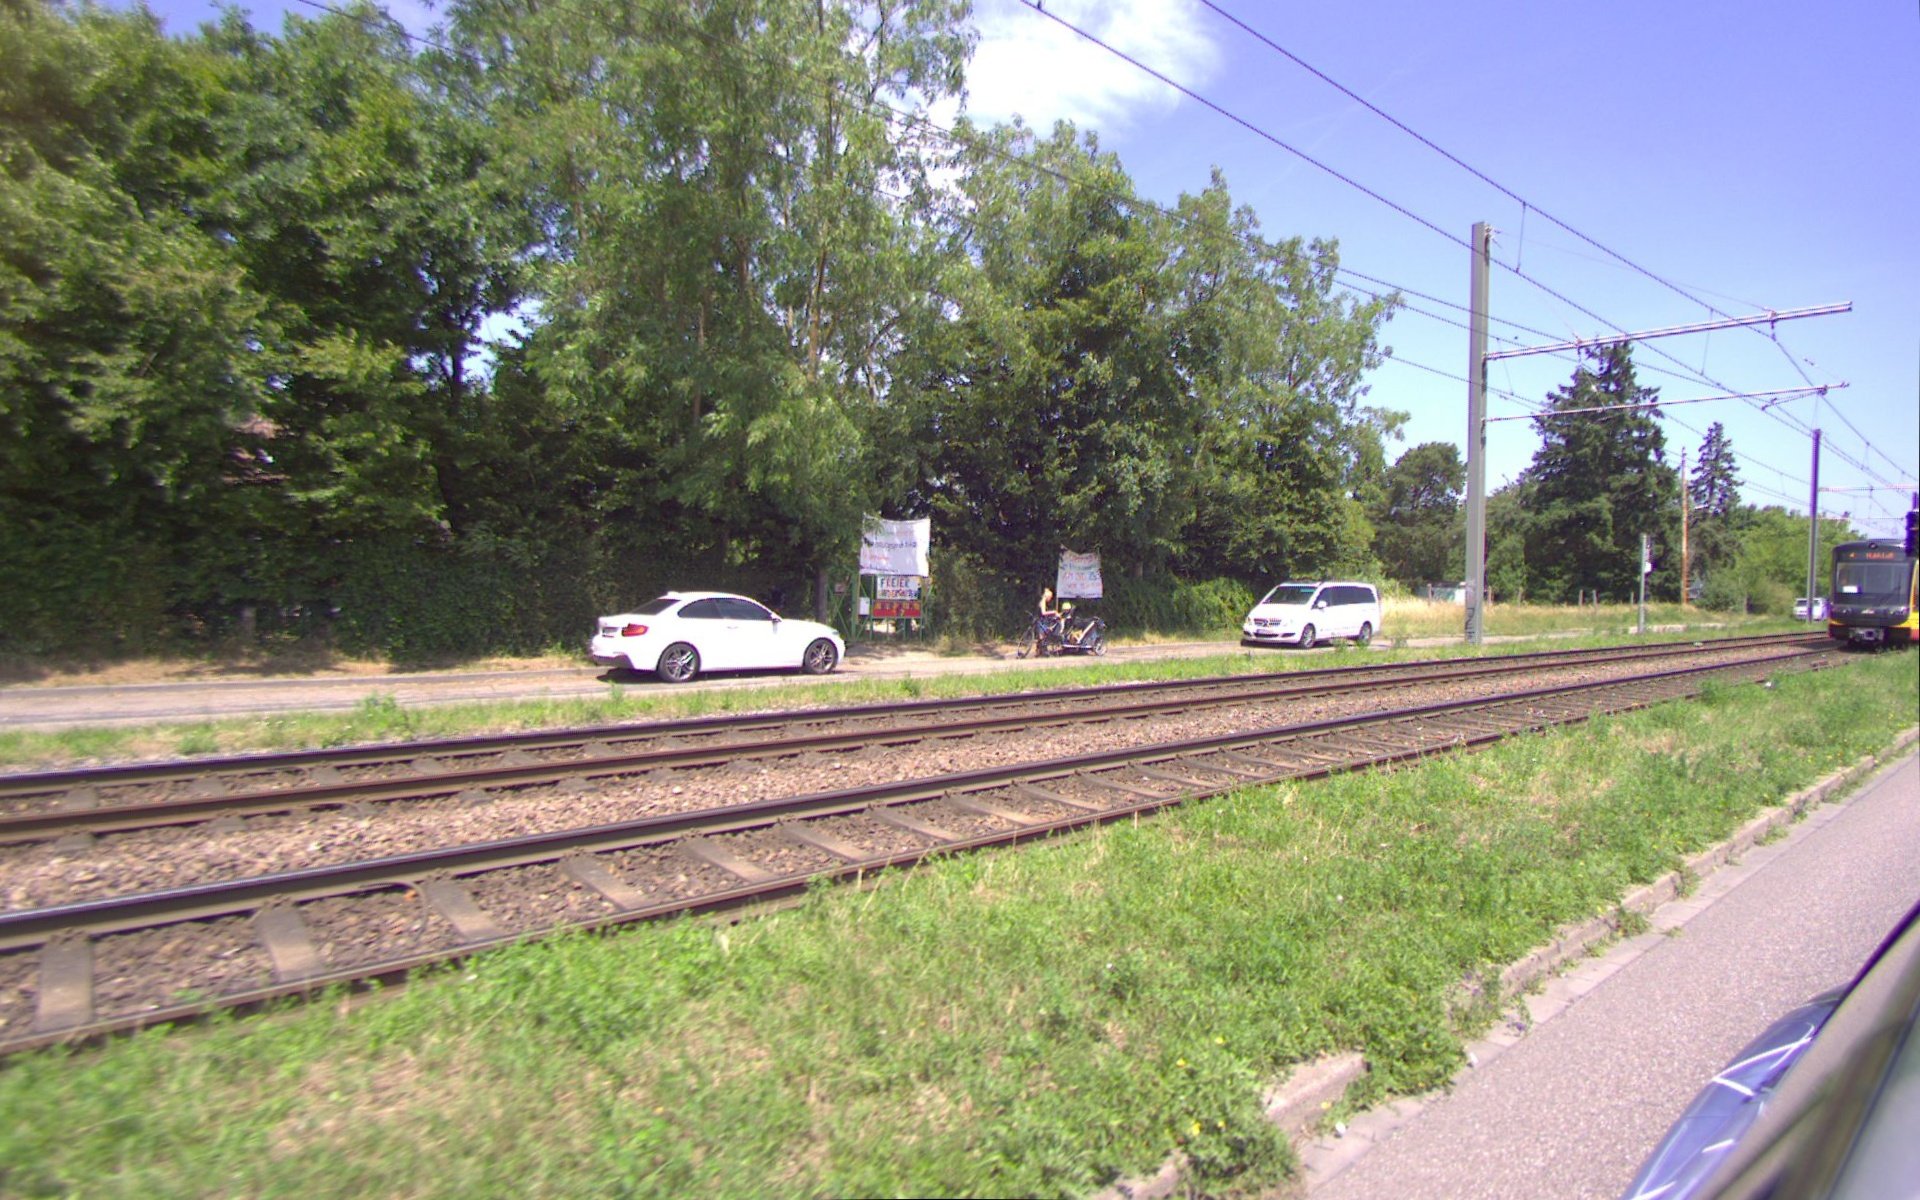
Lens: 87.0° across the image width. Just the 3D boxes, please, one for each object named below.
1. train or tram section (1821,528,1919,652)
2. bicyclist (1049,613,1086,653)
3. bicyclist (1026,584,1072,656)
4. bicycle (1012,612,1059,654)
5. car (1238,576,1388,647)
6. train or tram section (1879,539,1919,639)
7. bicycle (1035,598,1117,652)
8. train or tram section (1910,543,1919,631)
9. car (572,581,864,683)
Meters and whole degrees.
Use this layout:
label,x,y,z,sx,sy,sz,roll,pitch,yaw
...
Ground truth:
label,x,y,z,sx,sy,sz,roll,pitch,yaw
train or tram section,32.720,-0.418,35.009,10.991,3.735,2.771,-1,2,-41
bicyclist,2.581,0.780,24.203,0.522,0.886,0.750,2,2,45
bicyclist,2.049,0.443,23.370,0.609,1.608,0.911,2,2,44
bicycle,1.721,0.747,23.112,0.784,0.886,0.750,-1,2,-41
car,10.487,0.270,29.906,4.927,1.899,1.997,-1,2,-41
train or tram section,39.421,-0.467,40.761,6.612,3.812,2.707,-1,2,-41
bicycle,2.752,0.562,24.015,1.629,1.160,1.147,-1,2,-41
train or tram section,44.511,-0.576,45.010,6.612,3.759,2.566,-1,2,-41
car,-4.006,0.438,17.241,4.549,1.467,1.801,-1,3,-41
